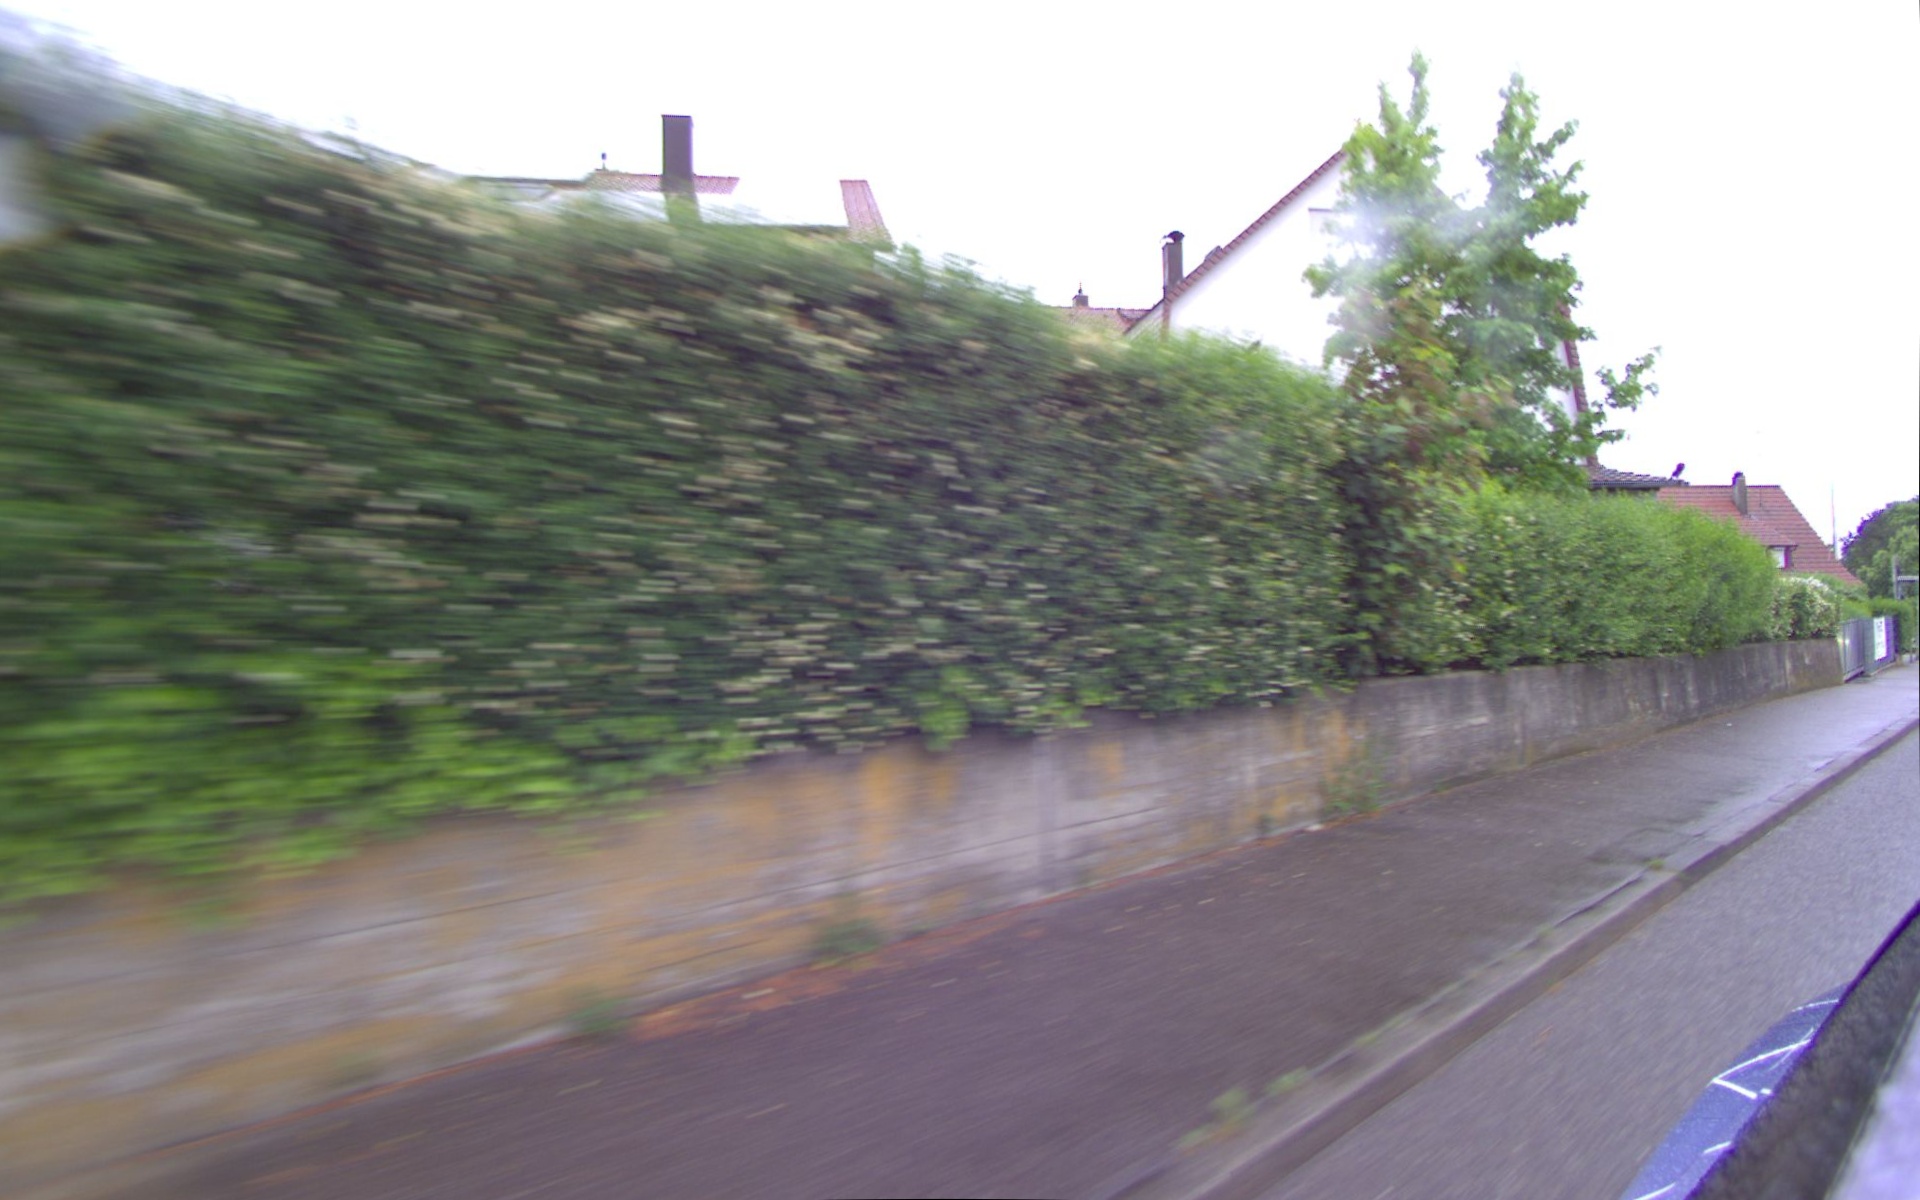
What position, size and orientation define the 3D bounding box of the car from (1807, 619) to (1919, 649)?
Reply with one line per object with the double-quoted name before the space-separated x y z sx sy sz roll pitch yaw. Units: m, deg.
"car" 45.867 1.722 50.901 1.958 1.402 4.579 2 -3 -22
